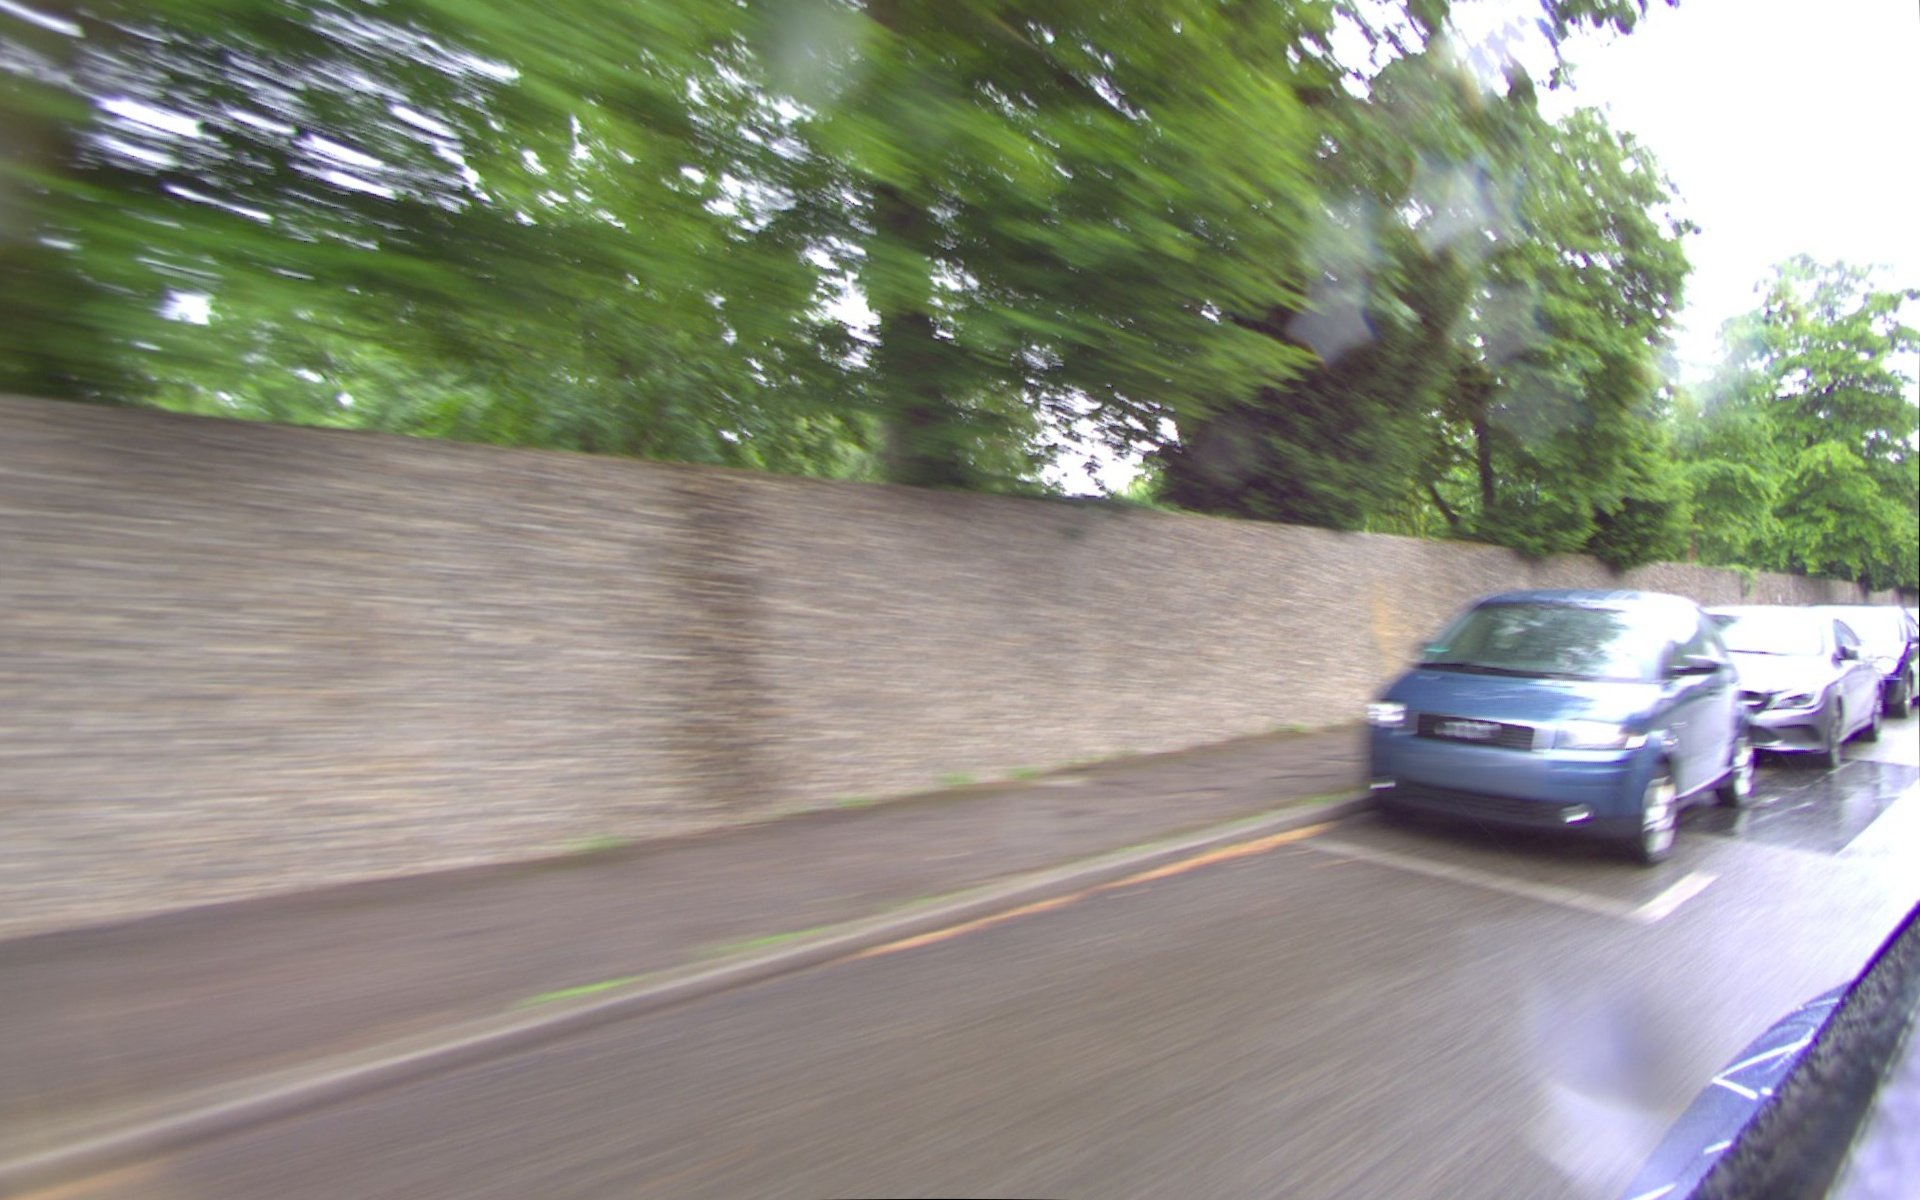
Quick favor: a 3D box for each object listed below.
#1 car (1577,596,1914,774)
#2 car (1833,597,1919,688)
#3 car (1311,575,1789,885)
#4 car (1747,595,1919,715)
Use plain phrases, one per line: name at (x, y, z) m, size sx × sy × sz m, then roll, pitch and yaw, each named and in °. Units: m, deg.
car at (8.274, 0.695, 10.513) m, size 4.407 × 1.437 × 1.997 m, roll 0°, pitch 0°, yaw -42°
car at (16.691, 0.688, 17.654) m, size 4.083 × 1.437 × 1.762 m, roll 0°, pitch 1°, yaw -43°
car at (4.205, 0.636, 6.983) m, size 3.735 × 1.552 × 1.792 m, roll 0°, pitch 1°, yaw -42°
car at (12.684, 0.666, 14.269) m, size 4.080 × 1.437 × 1.762 m, roll 0°, pitch 1°, yaw -41°
